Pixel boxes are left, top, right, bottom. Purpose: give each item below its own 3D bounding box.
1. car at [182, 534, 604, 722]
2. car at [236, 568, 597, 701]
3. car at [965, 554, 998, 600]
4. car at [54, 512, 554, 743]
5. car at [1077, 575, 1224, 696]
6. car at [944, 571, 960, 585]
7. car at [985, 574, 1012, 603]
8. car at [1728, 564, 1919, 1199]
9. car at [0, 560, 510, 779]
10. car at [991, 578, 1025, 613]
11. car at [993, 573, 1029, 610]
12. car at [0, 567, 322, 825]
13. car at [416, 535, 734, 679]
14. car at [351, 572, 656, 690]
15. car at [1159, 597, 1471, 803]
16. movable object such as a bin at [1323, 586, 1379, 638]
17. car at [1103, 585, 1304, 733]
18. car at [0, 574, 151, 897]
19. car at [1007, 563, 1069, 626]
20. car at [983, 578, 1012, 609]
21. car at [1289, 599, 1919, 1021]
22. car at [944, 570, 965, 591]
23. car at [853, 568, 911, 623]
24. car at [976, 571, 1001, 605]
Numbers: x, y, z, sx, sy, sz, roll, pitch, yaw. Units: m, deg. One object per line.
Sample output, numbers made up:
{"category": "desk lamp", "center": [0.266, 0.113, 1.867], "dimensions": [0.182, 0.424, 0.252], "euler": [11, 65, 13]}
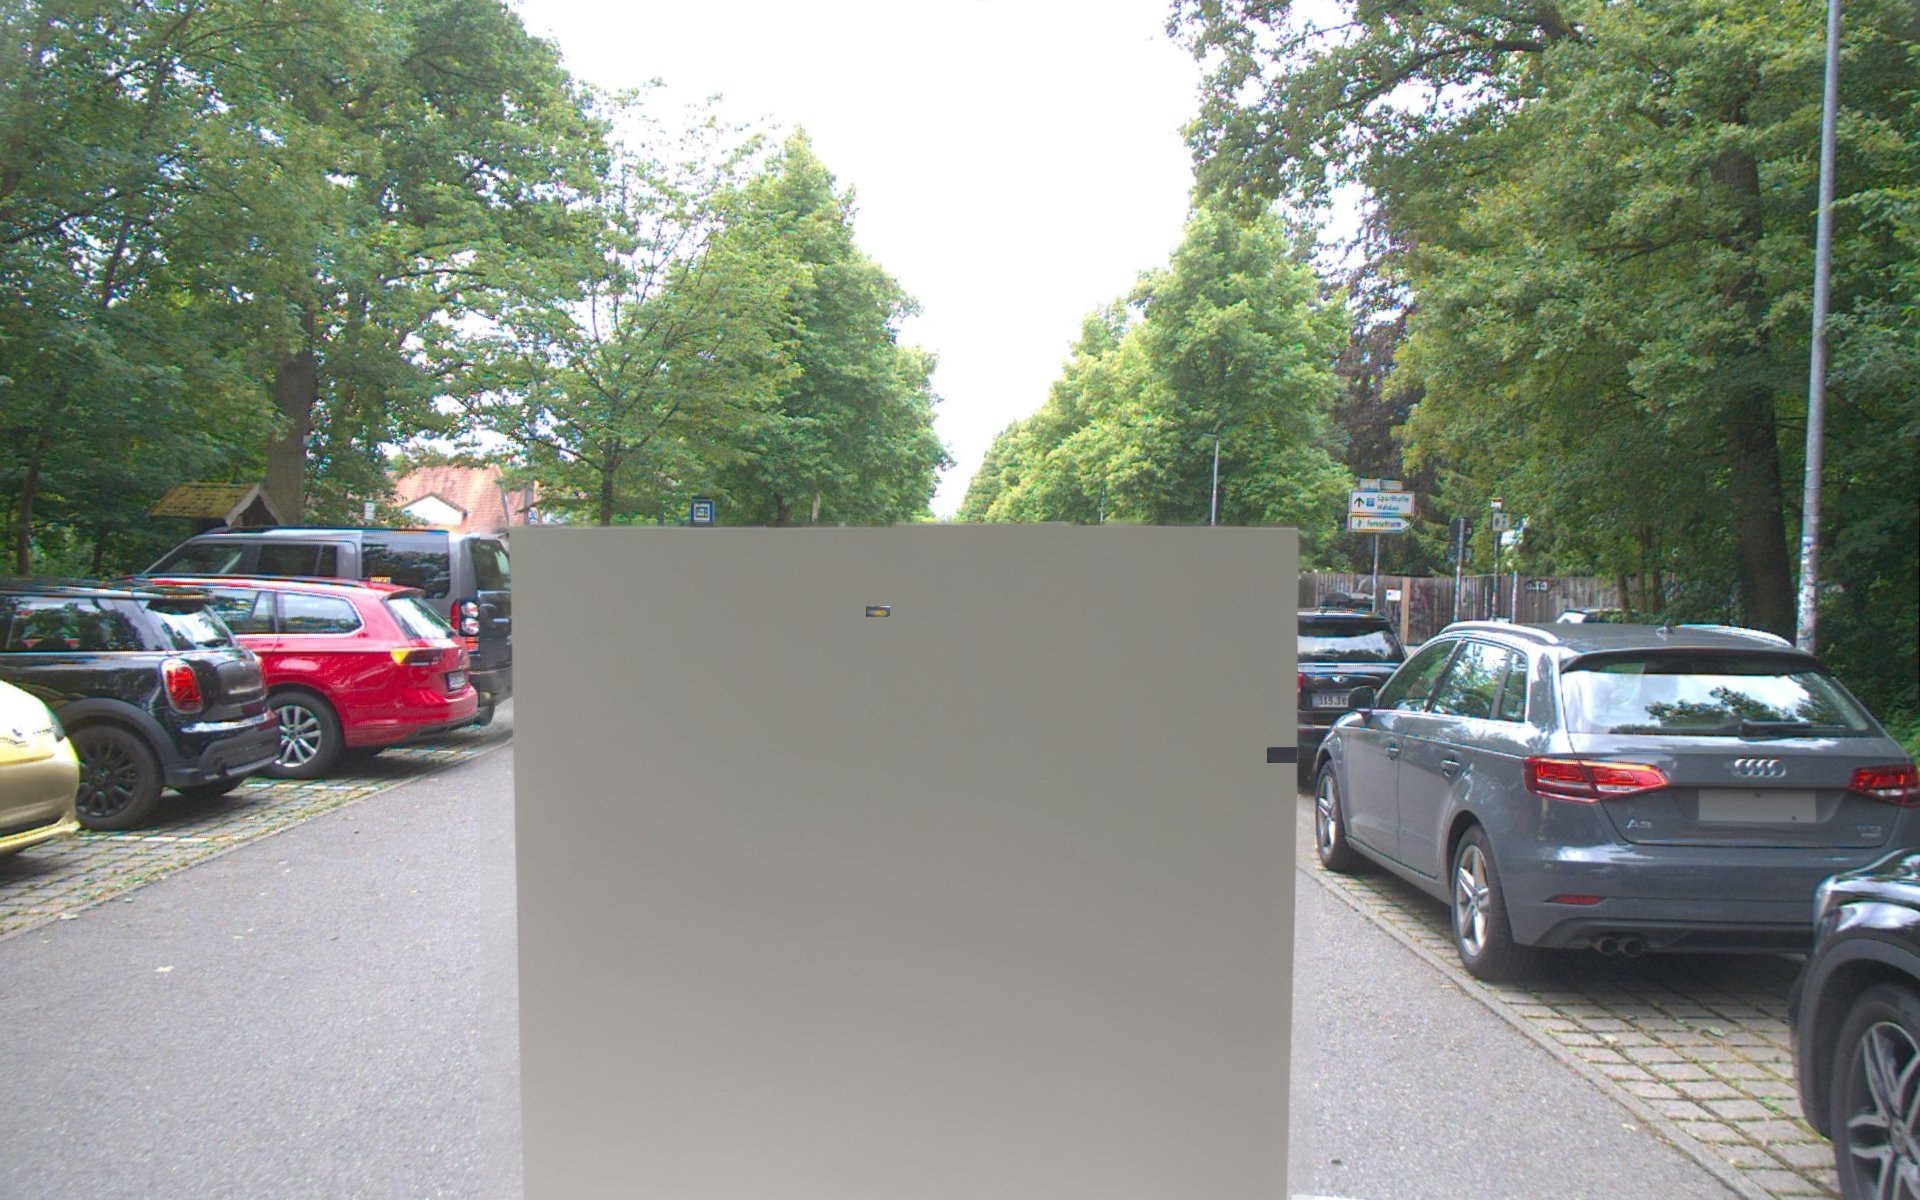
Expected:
{"category": "car", "center": [-6.036, 0.285, 17.977], "dimensions": [3.907, 1.796, 1.823], "euler": [2, 0, -3]}
{"category": "car", "center": [-6.715, 0.407, 20.729], "dimensions": [3.906, 1.455, 1.720], "euler": [2, 0, -1]}
{"category": "car", "center": [1.467, -1.610, 115.036], "dimensions": [2.139, 3.068, 4.897], "euler": [1, 1, 0]}
{"category": "car", "center": [-6.018, 0.237, 15.540], "dimensions": [3.906, 1.895, 1.813], "euler": [2, 0, -2]}
{"category": "car", "center": [2.837, 0.486, 25.519], "dimensions": [1.701, 1.662, 4.375], "euler": [2, 0, 0]}
{"category": "car", "center": [-1.007, -2.774, 208.644], "dimensions": [1.859, 1.736, 4.065], "euler": [1, 0, 2]}
{"category": "car", "center": [2.117, -0.642, 91.375], "dimensions": [1.439, 1.558, 3.189], "euler": [1, 1, 0]}
{"category": "car", "center": [2.922, 0.760, 2.274], "dimensions": [1.700, 1.616, 4.382], "euler": [2, 0, 0]}
{"category": "car", "center": [-5.779, 0.509, 13.145], "dimensions": [3.908, 1.501, 1.779], "euler": [2, 0, -3]}
{"category": "car", "center": [2.197, -0.215, 76.603], "dimensions": [1.439, 1.558, 3.189], "euler": [1, 1, 0]}
{"category": "car", "center": [2.187, -0.381, 71.209], "dimensions": [1.439, 1.507, 3.189], "euler": [1, 1, 0]}
{"category": "car", "center": [-6.349, 0.519, 10.497], "dimensions": [3.908, 1.463, 1.670], "euler": [2, 0, -4]}
{"category": "car", "center": [-5.820, 0.109, 25.427], "dimensions": [4.412, 2.013, 1.890], "euler": [2, -1, -3]}
{"category": "car", "center": [-6.331, 0.400, 23.216], "dimensions": [3.735, 1.539, 1.810], "euler": [1, 1, 1]}
{"category": "car", "center": [2.880, 0.731, 14.402], "dimensions": [1.701, 1.457, 4.501], "euler": [2, 0, 0]}
{"category": "movable object such as a bin", "center": [11.326, 0.360, 47.891], "dimensions": [1.276, 1.468, 1.061], "euler": [2, -1, -45]}
{"category": "car", "center": [2.763, 0.611, 19.613], "dimensions": [1.701, 1.521, 4.233], "euler": [2, 0, 0]}
{"category": "car", "center": [-6.351, 0.554, 8.109], "dimensions": [3.906, 1.463, 1.617], "euler": [2, 0, -1]}
{"category": "car", "center": [2.657, -0.216, 57.256], "dimensions": [1.947, 2.049, 4.108], "euler": [1, 1, 0]}
{"category": "car", "center": [1.925, -0.348, 85.595], "dimensions": [1.439, 1.558, 3.189], "euler": [1, 1, 0]}
{"category": "car", "center": [2.950, 0.756, 8.182], "dimensions": [1.701, 1.457, 4.501], "euler": [2, 0, 0]}
{"category": "car", "center": [-0.565, -2.044, 175.155], "dimensions": [1.952, 2.049, 4.001], "euler": [1, 0, 2]}
{"category": "car", "center": [-2.601, -0.158, 54.641], "dimensions": [1.730, 1.623, 4.213], "euler": [4, 0, -4]}
{"category": "car", "center": [1.743, -0.757, 101.633], "dimensions": [1.439, 2.002, 3.189], "euler": [1, 1, 0]}
